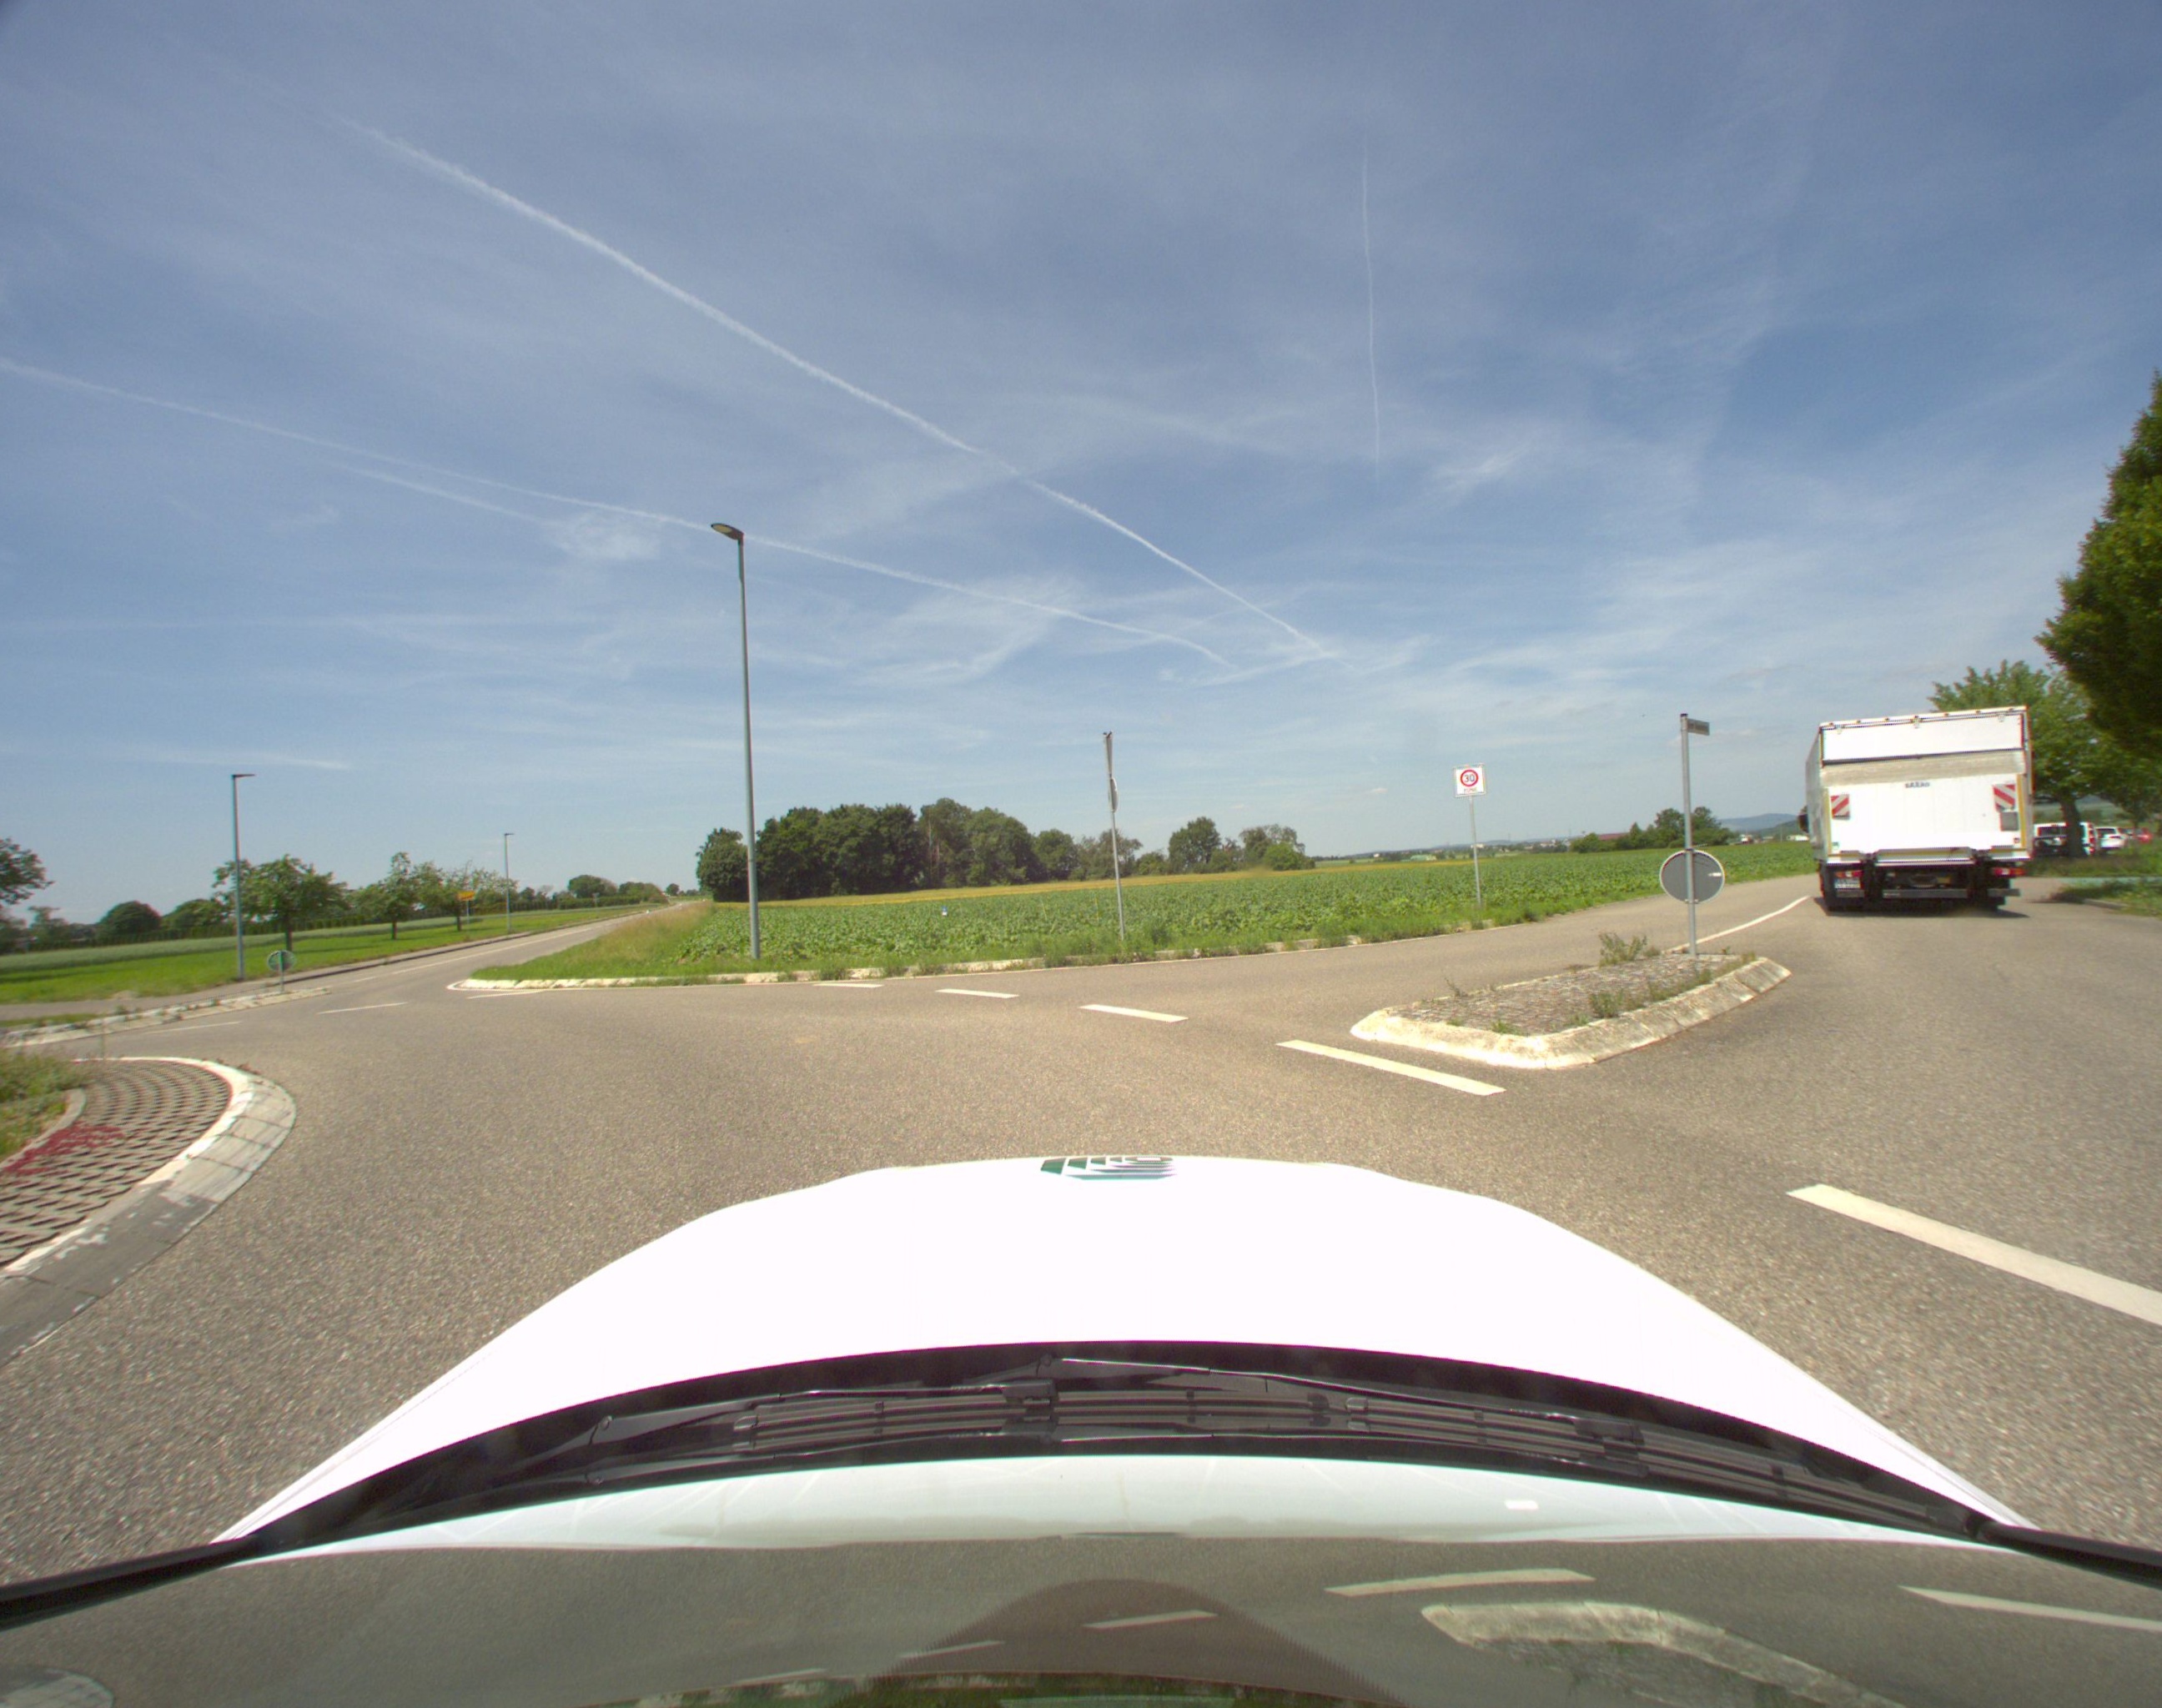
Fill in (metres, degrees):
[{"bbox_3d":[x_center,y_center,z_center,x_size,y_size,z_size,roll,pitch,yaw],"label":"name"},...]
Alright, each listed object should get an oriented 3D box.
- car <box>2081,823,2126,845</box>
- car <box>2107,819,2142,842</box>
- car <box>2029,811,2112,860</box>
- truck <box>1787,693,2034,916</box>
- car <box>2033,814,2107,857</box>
[{"bbox_3d":[59.290,-1.176,47.218,3.220,1.136,1.351,-2,-2,-34],"label":"car"},{"bbox_3d":[69.568,-1.577,54.268,3.304,1.361,1.272,-1,-3,-36],"label":"car"},{"bbox_3d":[40.366,-0.772,33.318,4.021,1.794,1.976,-2,-2,-41],"label":"car"},{"bbox_3d":[17.552,-0.807,17.908,2.740,3.671,9.441,-3,-2,40],"label":"truck"},{"bbox_3d":[44.979,-0.850,37.111,4.021,1.717,1.976,-2,-2,-40],"label":"car"}]
